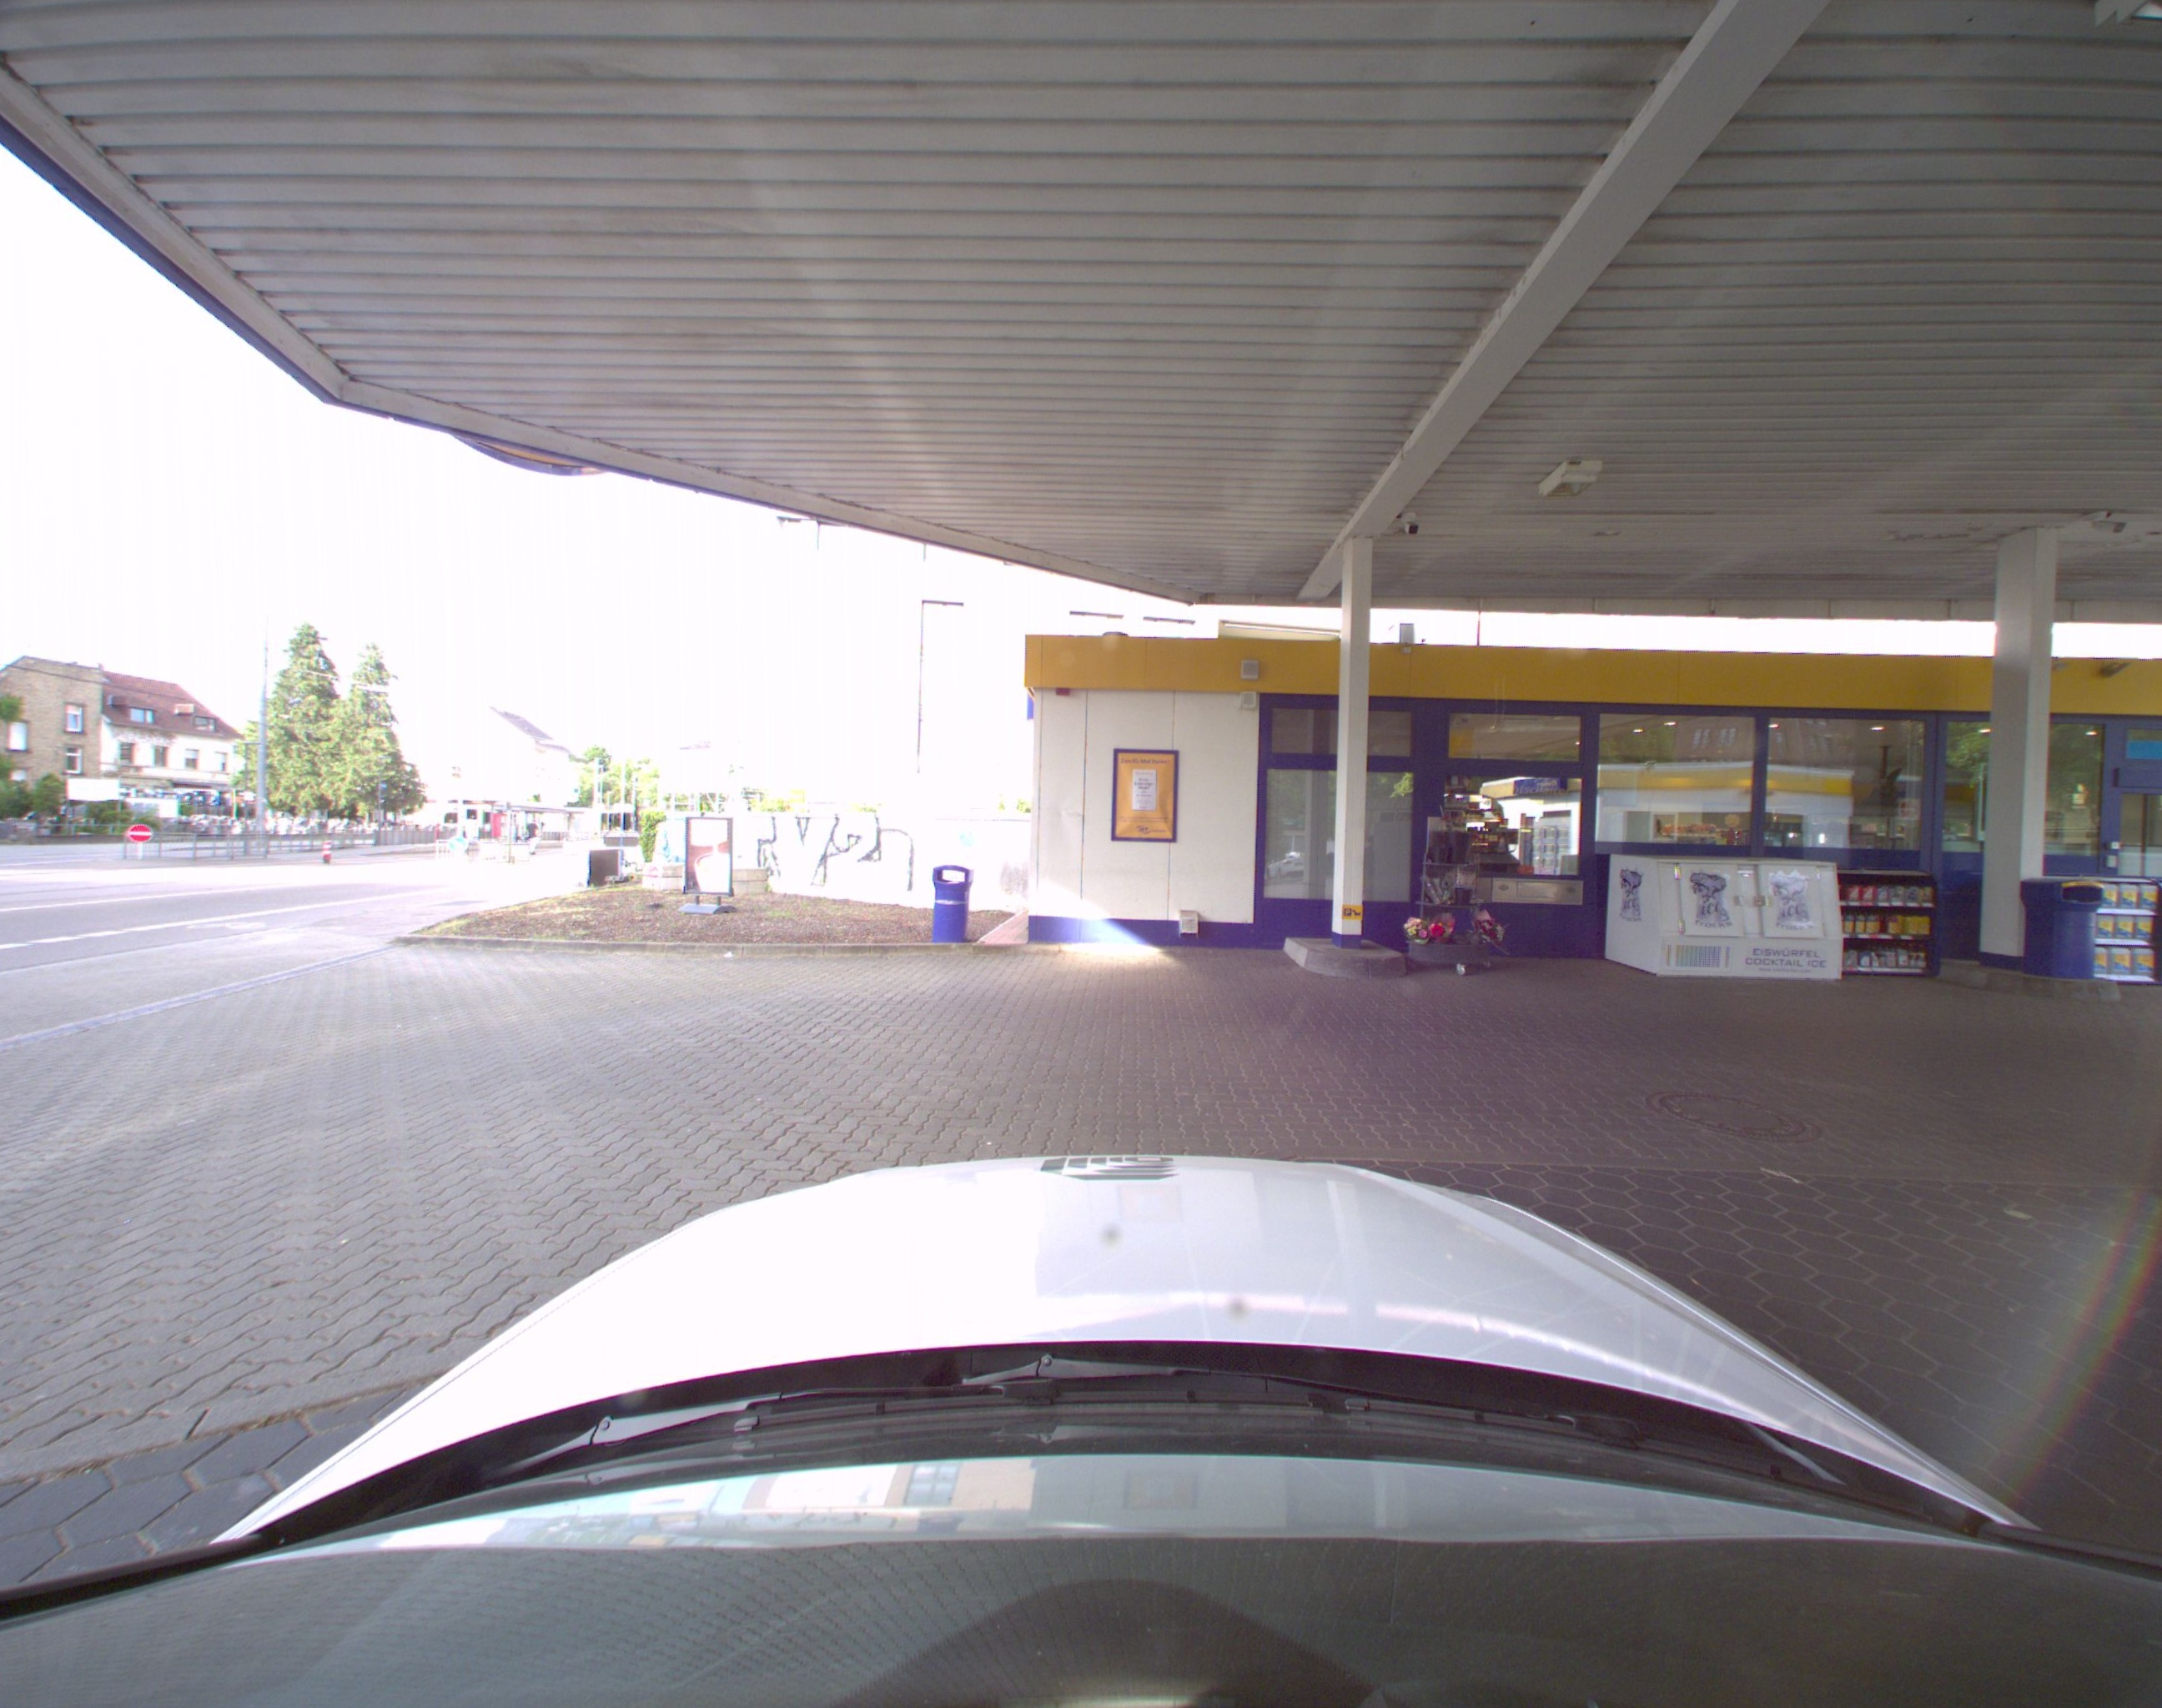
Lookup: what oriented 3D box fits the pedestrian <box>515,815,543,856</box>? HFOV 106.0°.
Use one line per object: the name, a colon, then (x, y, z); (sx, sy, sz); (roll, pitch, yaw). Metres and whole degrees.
pedestrian: (-27.270, -0.897, 40.265); (0.803, 2.014, 0.850); (0, -1, 0)
